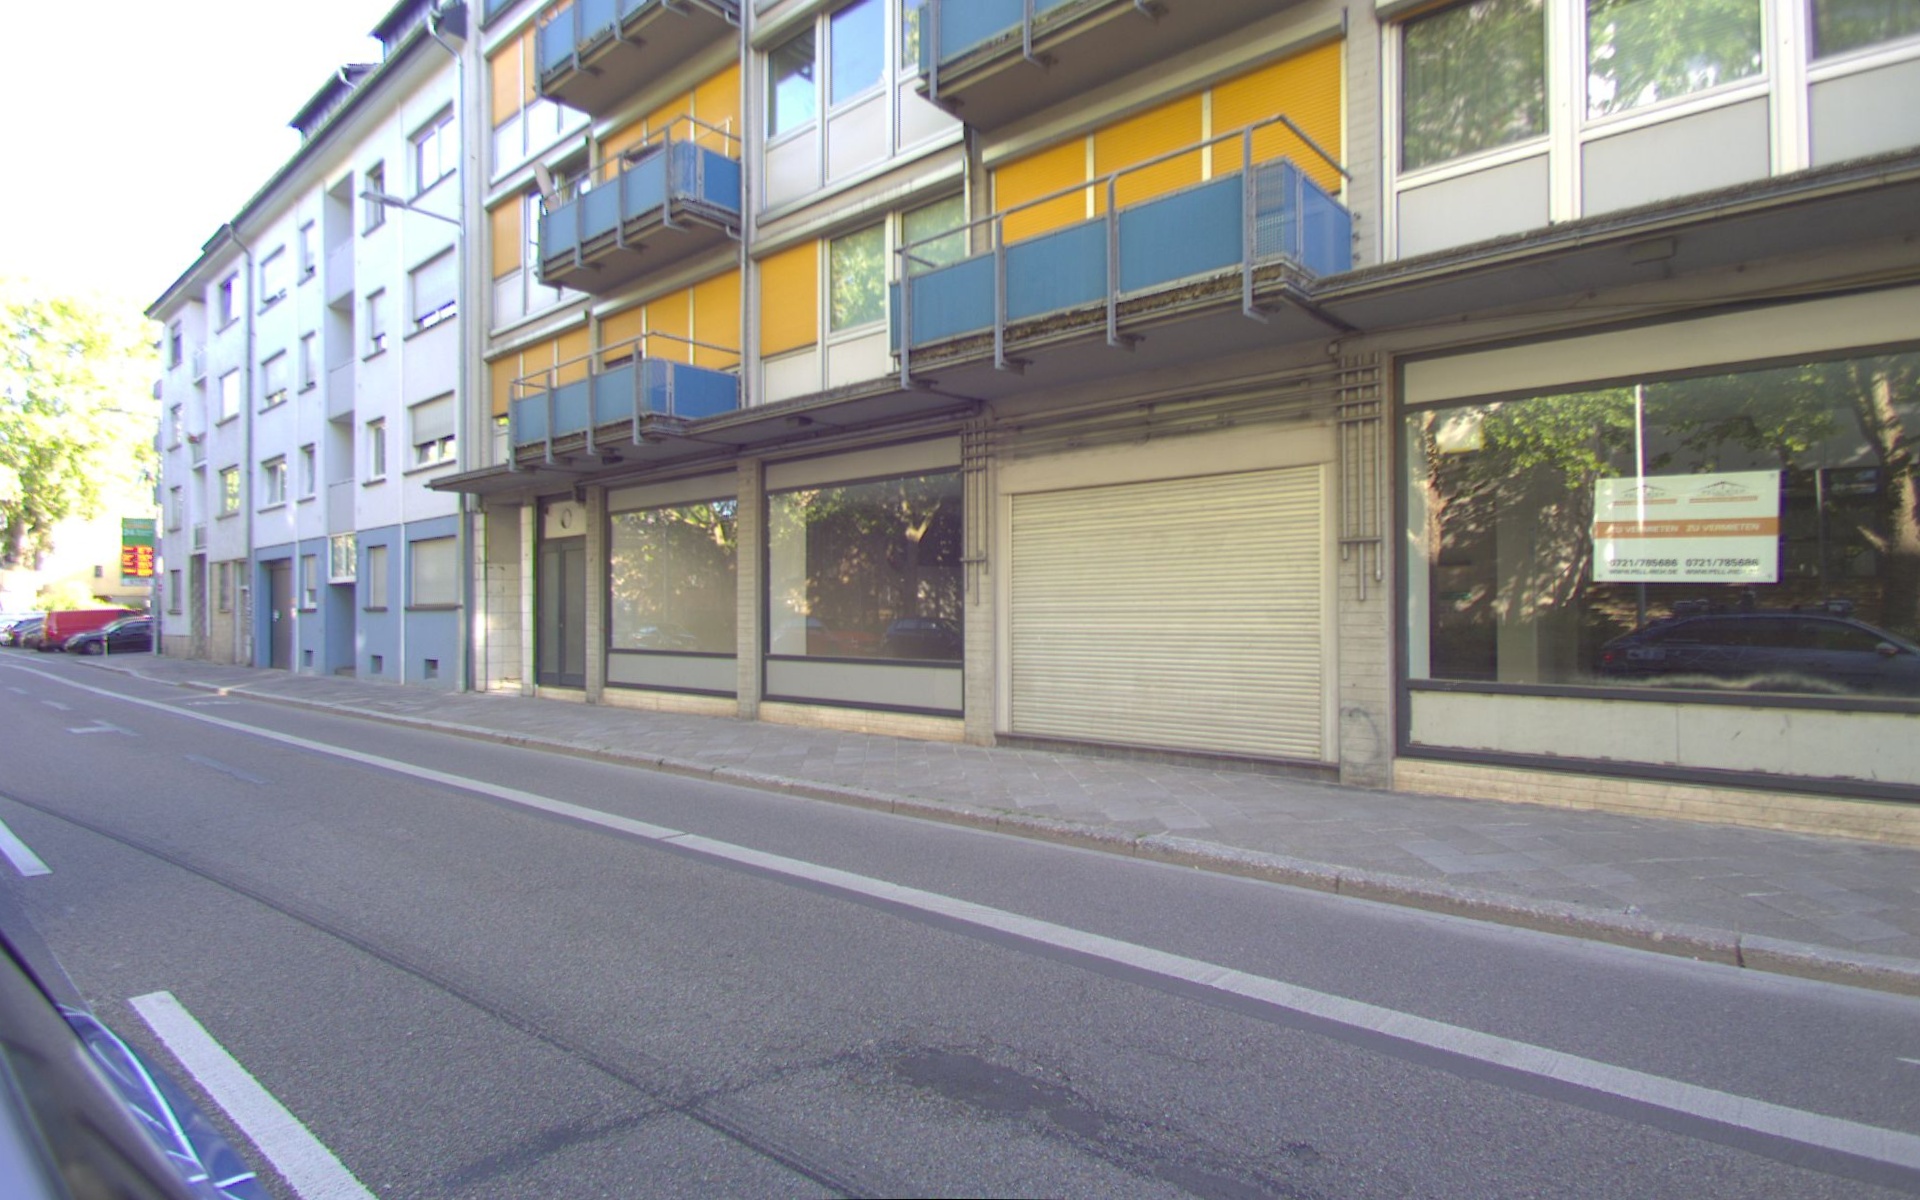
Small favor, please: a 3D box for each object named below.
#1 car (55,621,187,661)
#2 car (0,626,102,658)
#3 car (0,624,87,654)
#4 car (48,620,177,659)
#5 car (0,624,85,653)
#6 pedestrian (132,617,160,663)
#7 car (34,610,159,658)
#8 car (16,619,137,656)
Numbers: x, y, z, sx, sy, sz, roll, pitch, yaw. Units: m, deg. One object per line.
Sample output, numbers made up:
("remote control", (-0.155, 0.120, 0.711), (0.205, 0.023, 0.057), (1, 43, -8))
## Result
("car", (-36.482, 1.750, 44.093), (1.652, 1.411, 4.201), (-1, 1, 41))
("car", (-50.451, 2.298, 56.105), (1.652, 1.480, 4.201), (-1, 1, 41))
("car", (-54.483, 2.284, 59.790), (1.652, 1.480, 4.201), (-1, 1, 41))
("car", (-38.175, 1.737, 45.656), (1.652, 1.480, 4.201), (-1, 1, 41))
("car", (-55.865, 2.305, 61.198), (1.652, 1.480, 4.201), (-1, 1, 41))
("pedestrian", (-30.336, 1.487, 37.718), (0.602, 1.708, 0.657), (0, -1, -13))
("car", (-40.556, 1.565, 47.618), (1.817, 1.933, 4.202), (-1, 1, 40))
("car", (-42.744, 1.796, 49.014), (1.652, 1.480, 4.201), (-1, 1, 41))
